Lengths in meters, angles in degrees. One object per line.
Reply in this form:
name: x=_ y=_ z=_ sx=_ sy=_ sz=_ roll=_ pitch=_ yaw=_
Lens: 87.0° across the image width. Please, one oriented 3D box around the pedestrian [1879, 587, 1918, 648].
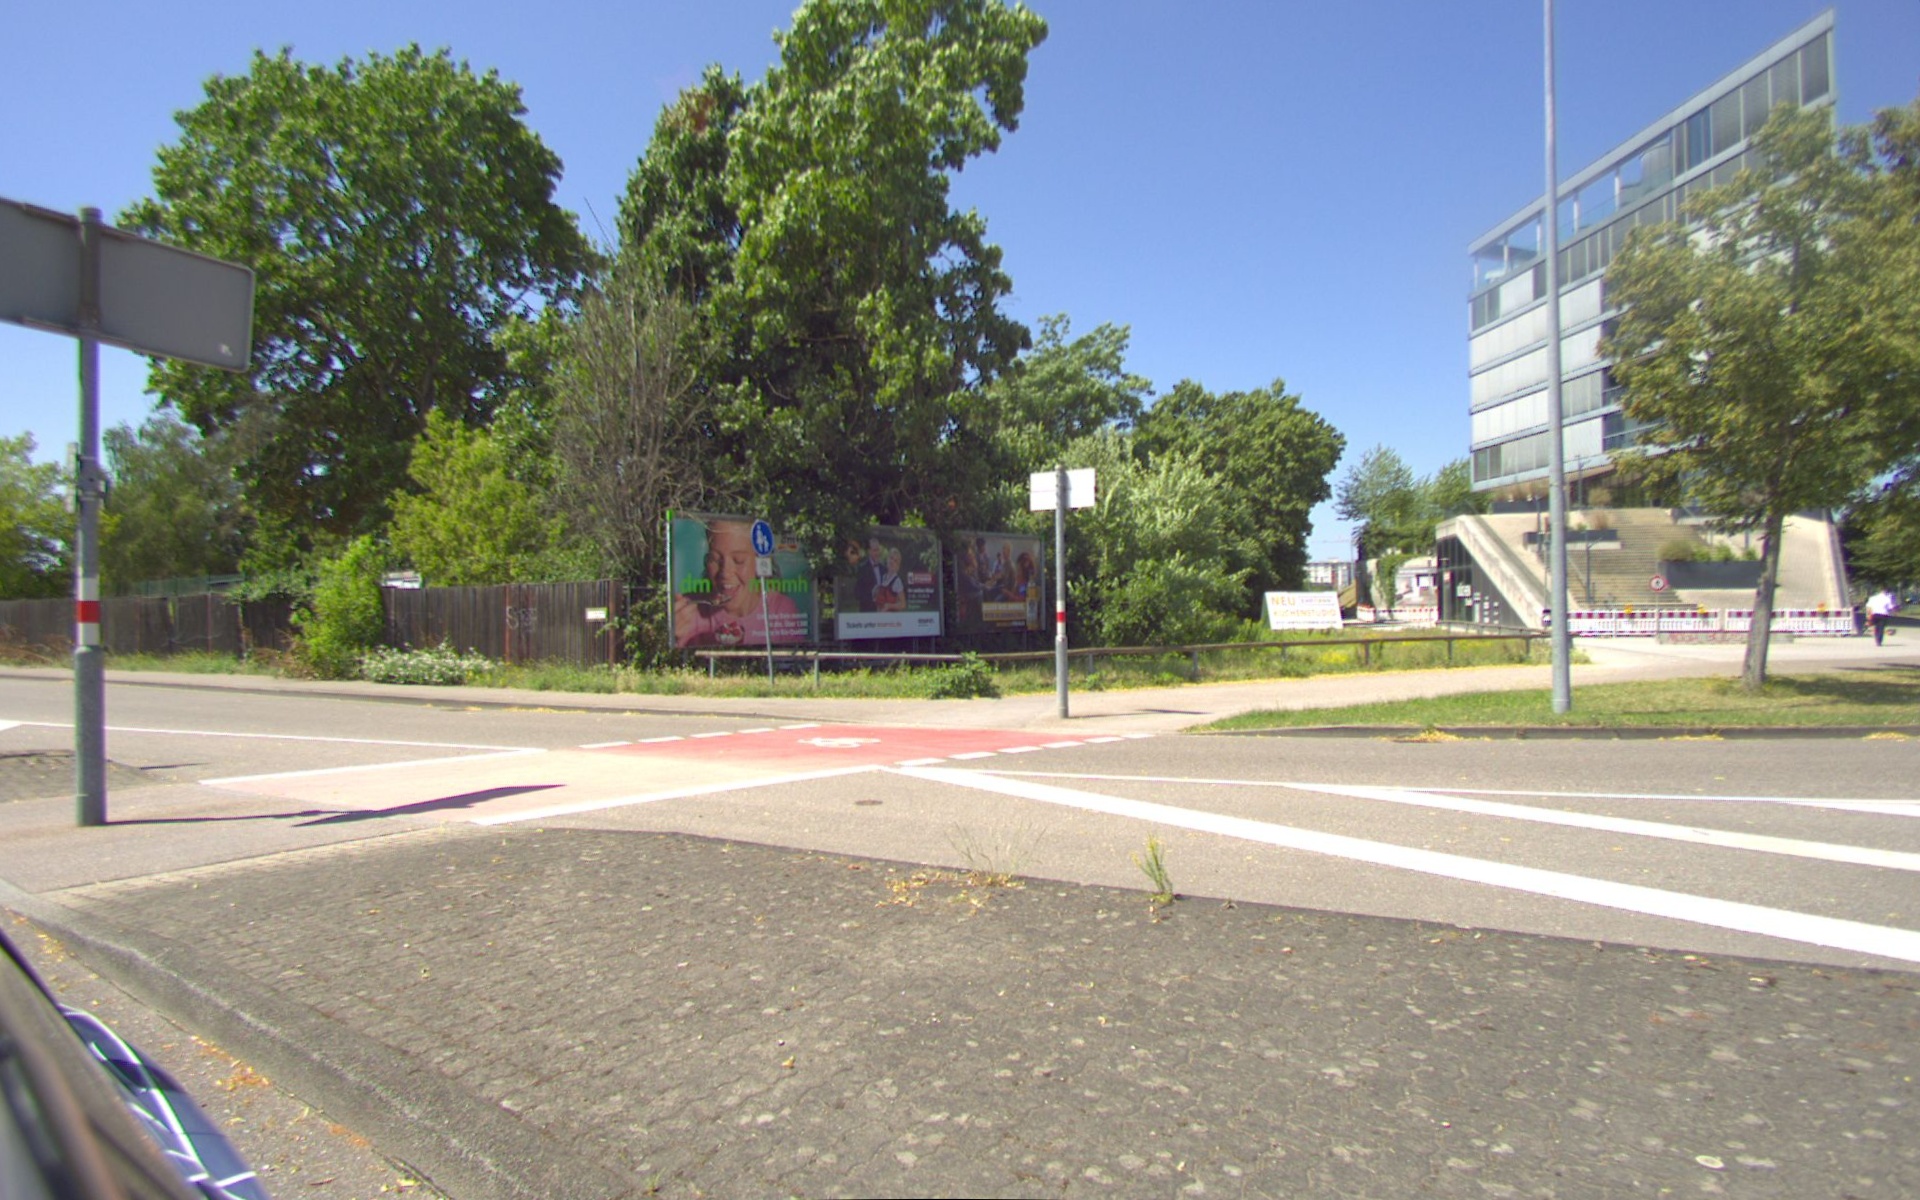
pedestrian: x=29.572 y=0.554 z=31.890 sx=0.602 sy=1.883 sz=0.836 roll=-2 pitch=1 yaw=-41
